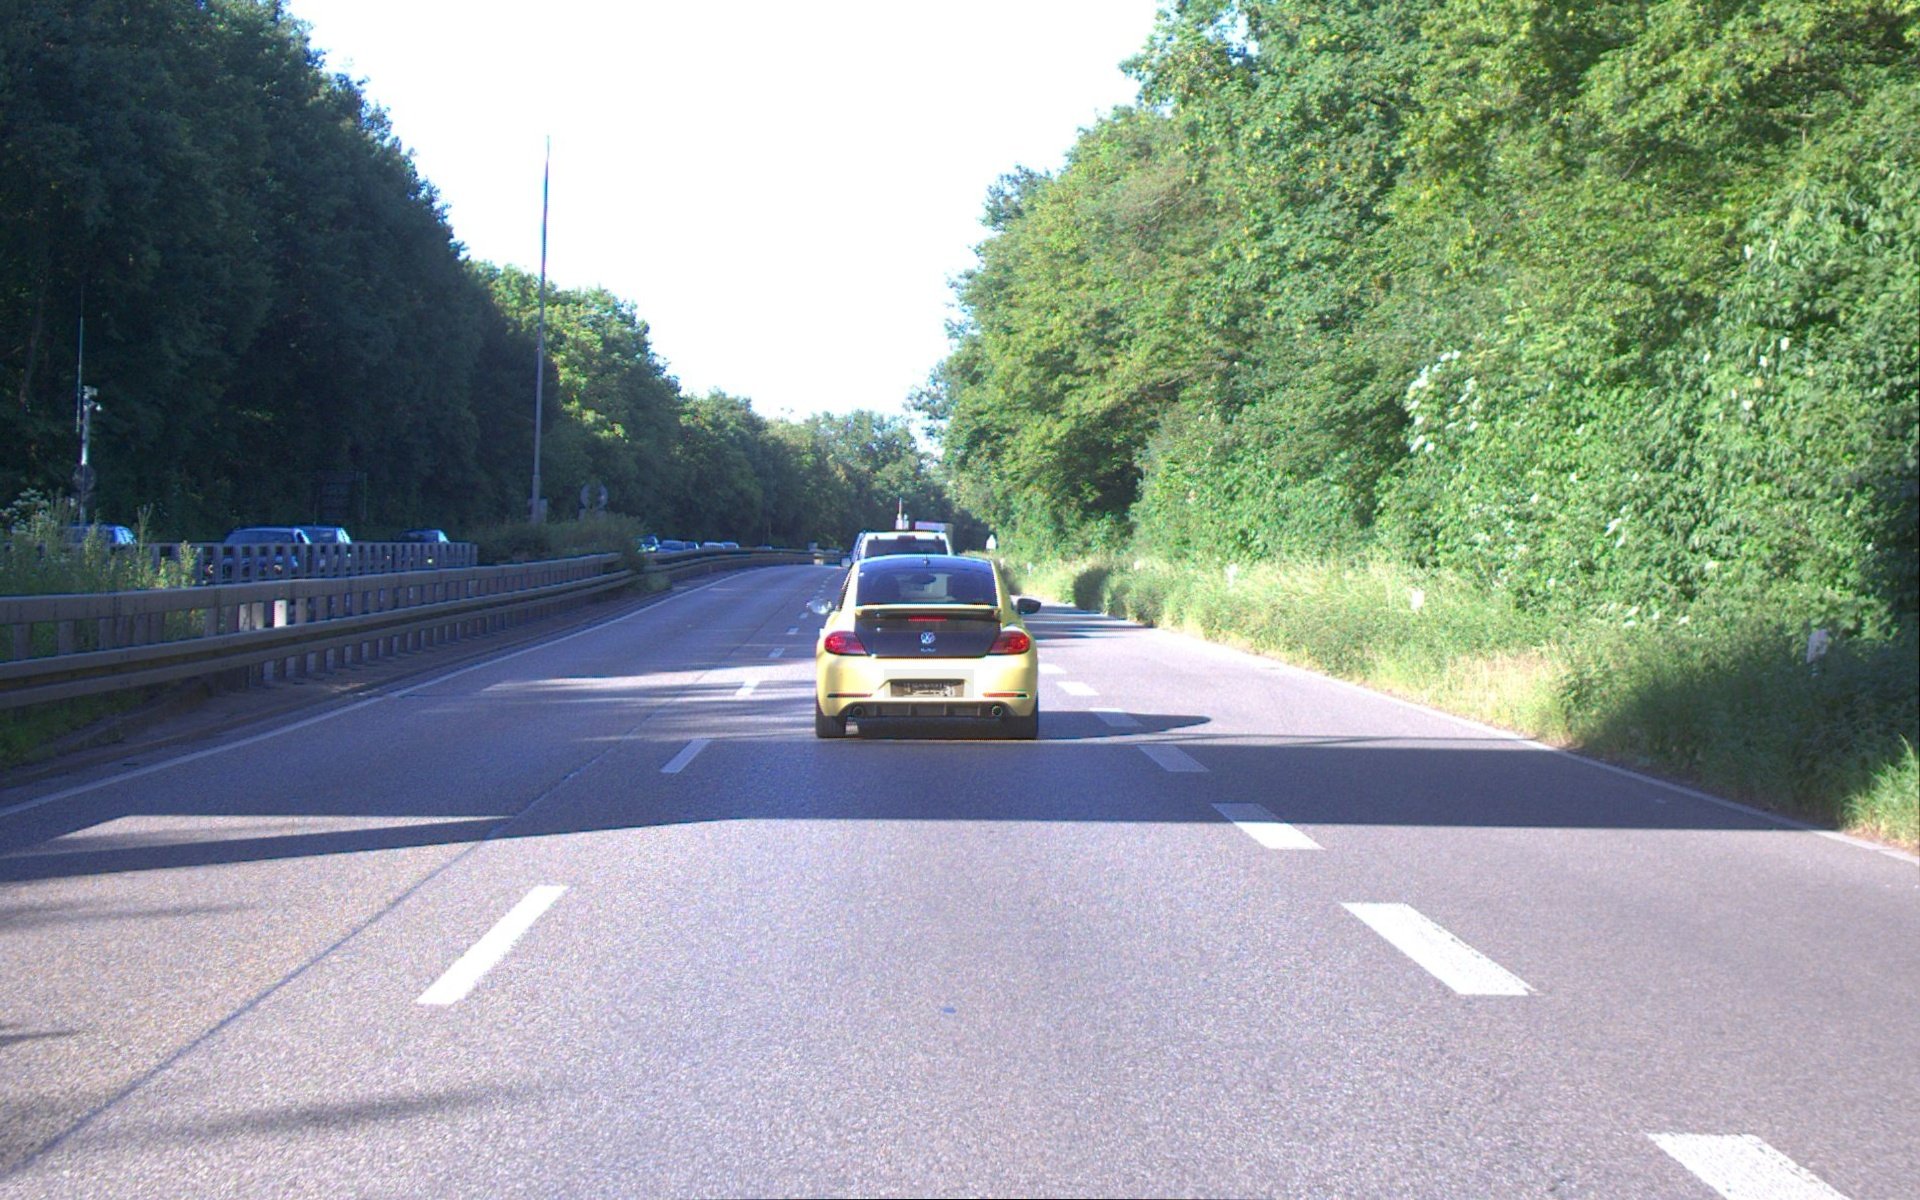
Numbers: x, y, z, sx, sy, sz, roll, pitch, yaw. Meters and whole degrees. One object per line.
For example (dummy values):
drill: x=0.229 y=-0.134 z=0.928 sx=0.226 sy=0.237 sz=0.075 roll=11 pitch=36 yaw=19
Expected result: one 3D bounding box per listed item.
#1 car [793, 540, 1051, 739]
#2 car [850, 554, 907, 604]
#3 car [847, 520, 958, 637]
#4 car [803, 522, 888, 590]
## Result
car: x=-0.254 y=0.284 z=28.288 sx=1.939 sy=1.503 sz=3.422 roll=1 pitch=1 yaw=2
car: x=-2.934 y=-0.776 z=123.592 sx=1.993 sy=1.744 sz=4.373 roll=1 pitch=1 yaw=-1
car: x=-0.968 y=-0.366 z=56.268 sx=1.741 sy=1.823 sz=3.423 roll=1 pitch=1 yaw=-2
car: x=-2.687 y=-1.043 z=81.304 sx=1.939 sy=1.539 sz=3.423 roll=1 pitch=1 yaw=-1
